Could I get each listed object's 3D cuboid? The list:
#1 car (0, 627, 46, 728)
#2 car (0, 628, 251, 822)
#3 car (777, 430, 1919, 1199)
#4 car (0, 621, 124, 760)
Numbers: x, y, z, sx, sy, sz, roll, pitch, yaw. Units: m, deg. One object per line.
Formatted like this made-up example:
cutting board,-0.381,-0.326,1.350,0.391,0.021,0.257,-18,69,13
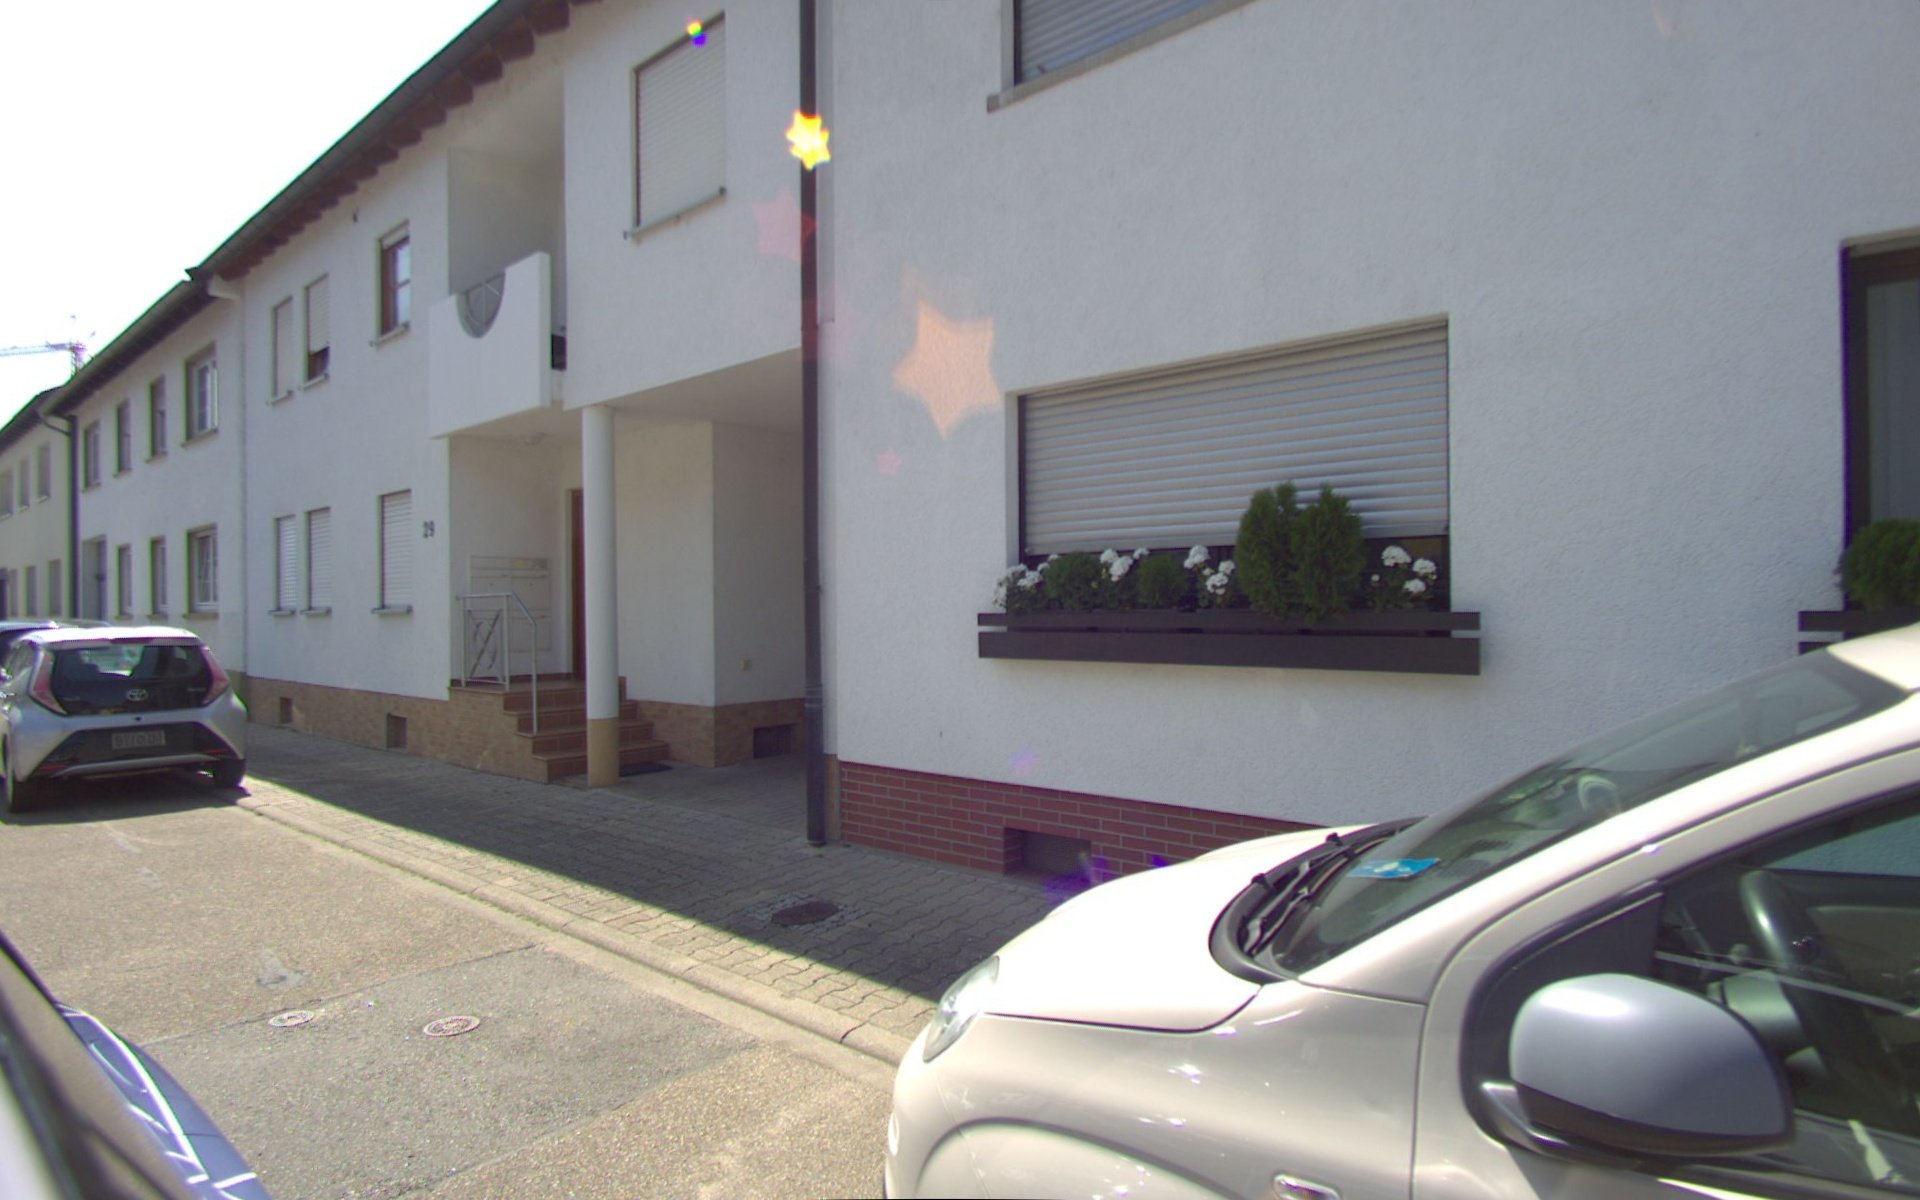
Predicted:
car,-15.469,1.156,15.797,3.461,1.466,1.396,-1,-2,42
car,-7.907,0.998,9.292,3.212,1.454,1.585,-2,-3,42
car,1.649,0.634,1.192,3.683,1.553,1.647,-1,-1,38
car,-11.513,1.034,12.469,3.024,1.540,1.396,-1,-2,42
